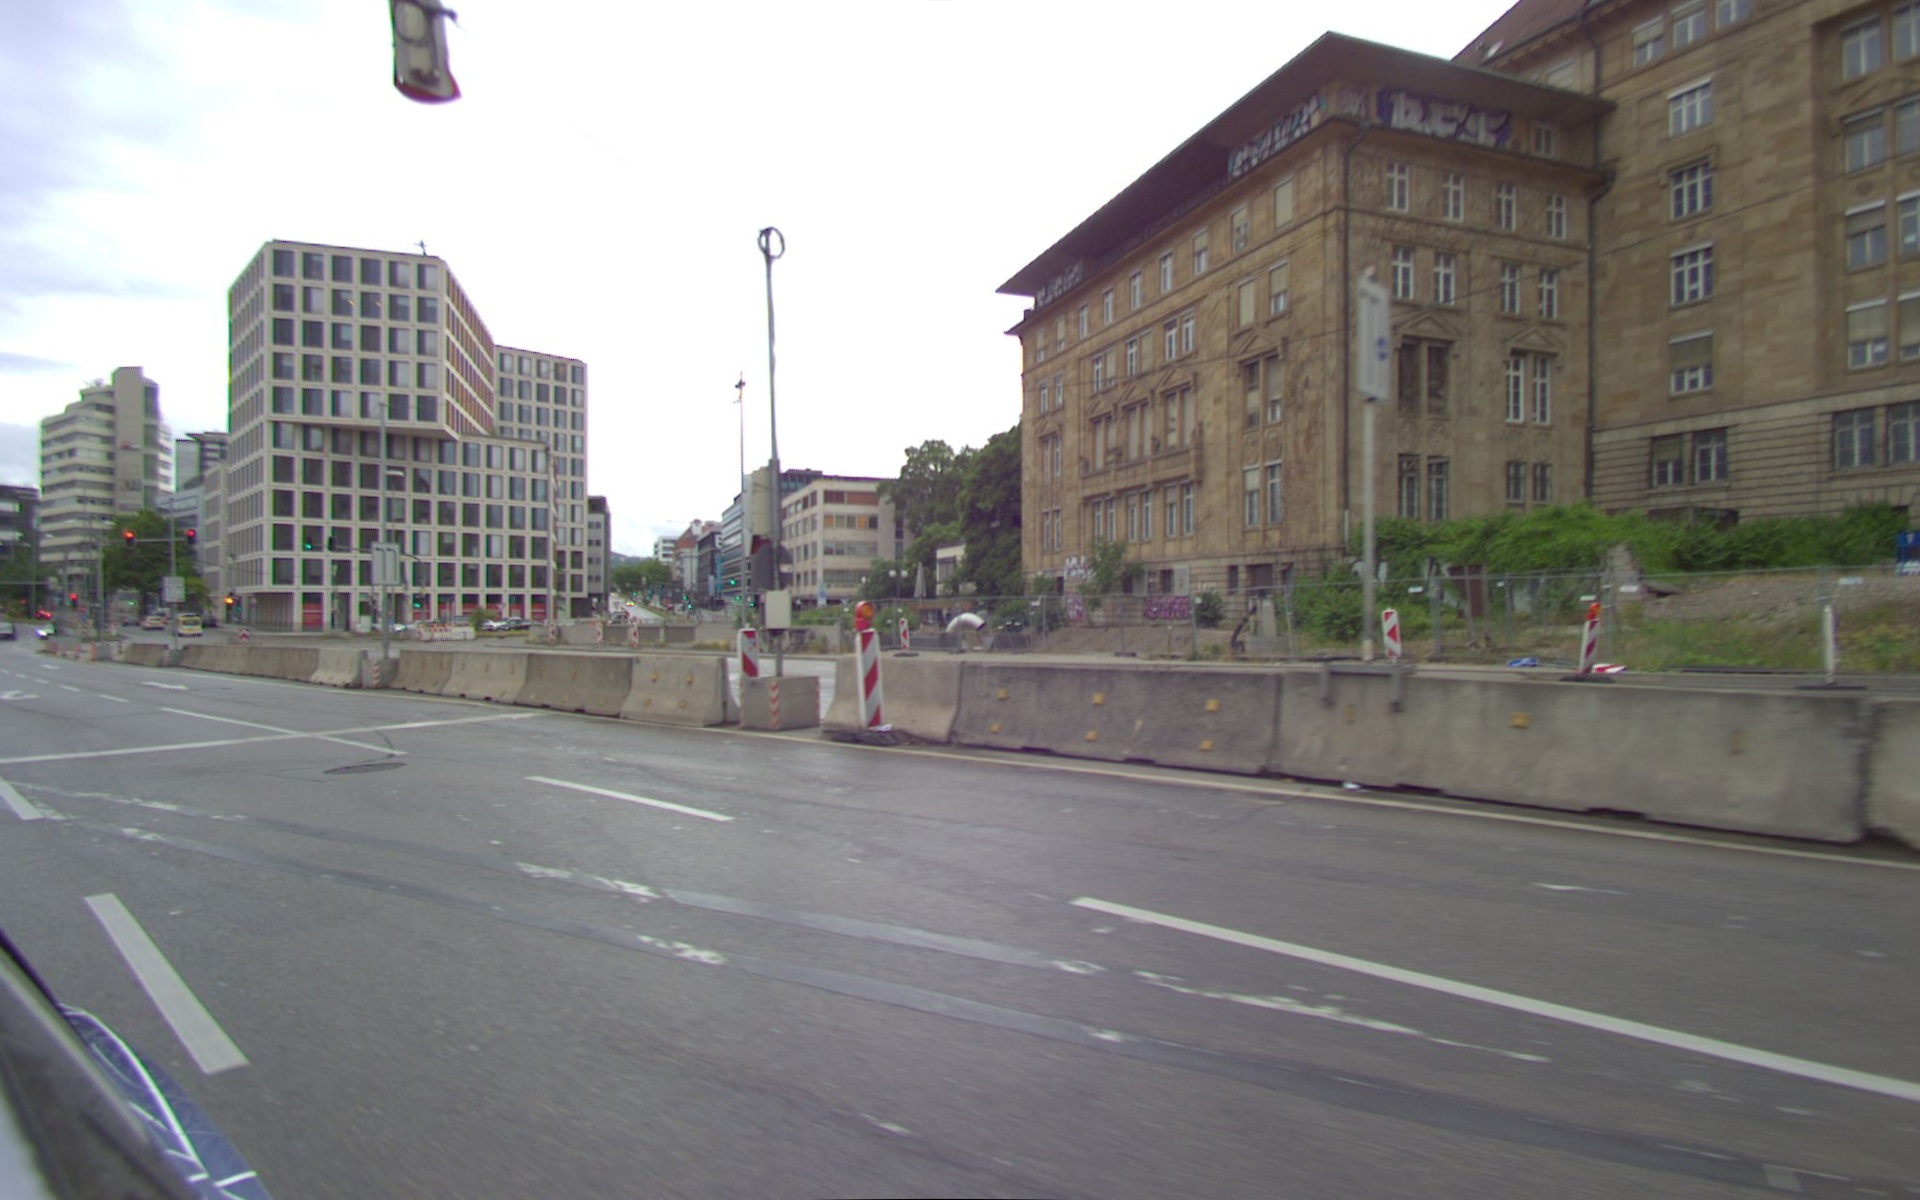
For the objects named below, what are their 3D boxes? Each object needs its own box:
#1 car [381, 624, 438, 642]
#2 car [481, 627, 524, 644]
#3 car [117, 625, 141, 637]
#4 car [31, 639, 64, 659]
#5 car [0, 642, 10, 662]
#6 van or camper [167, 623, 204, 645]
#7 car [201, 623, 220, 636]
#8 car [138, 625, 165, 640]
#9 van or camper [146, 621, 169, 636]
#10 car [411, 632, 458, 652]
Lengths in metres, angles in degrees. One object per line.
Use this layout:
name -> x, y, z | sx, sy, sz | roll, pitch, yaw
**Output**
car -> -57.353, 3.439, 105.522 | 2.229, 1.766, 4.746 | -1, -1, 41
car -> -49.856, 3.875, 110.346 | 1.849, 1.729, 4.092 | -2, -1, 28
car -> -111.287, 4.120, 135.458 | 4.179, 1.610, 1.826 | -1, 0, 41
car -> -84.782, 4.552, 94.102 | 1.986, 1.610, 4.672 | -1, 0, -38
car -> -86.990, 4.710, 91.159 | 1.988, 1.610, 4.668 | -1, 0, -43
van or camper -> -79.095, 3.413, 103.325 | 5.610, 2.070, 2.214 | -1, 0, 45
car -> -95.313, 3.776, 128.644 | 1.837, 1.534, 4.008 | 0, -1, -38
car -> -96.944, 3.846, 121.292 | 4.379, 1.686, 1.822 | -1, 0, 42
van or camper -> -111.912, 3.906, 141.156 | 4.254, 1.993, 1.826 | -1, 0, 41
car -> -53.505, 4.282, 103.144 | 3.938, 1.829, 1.808 | -1, 0, -42
